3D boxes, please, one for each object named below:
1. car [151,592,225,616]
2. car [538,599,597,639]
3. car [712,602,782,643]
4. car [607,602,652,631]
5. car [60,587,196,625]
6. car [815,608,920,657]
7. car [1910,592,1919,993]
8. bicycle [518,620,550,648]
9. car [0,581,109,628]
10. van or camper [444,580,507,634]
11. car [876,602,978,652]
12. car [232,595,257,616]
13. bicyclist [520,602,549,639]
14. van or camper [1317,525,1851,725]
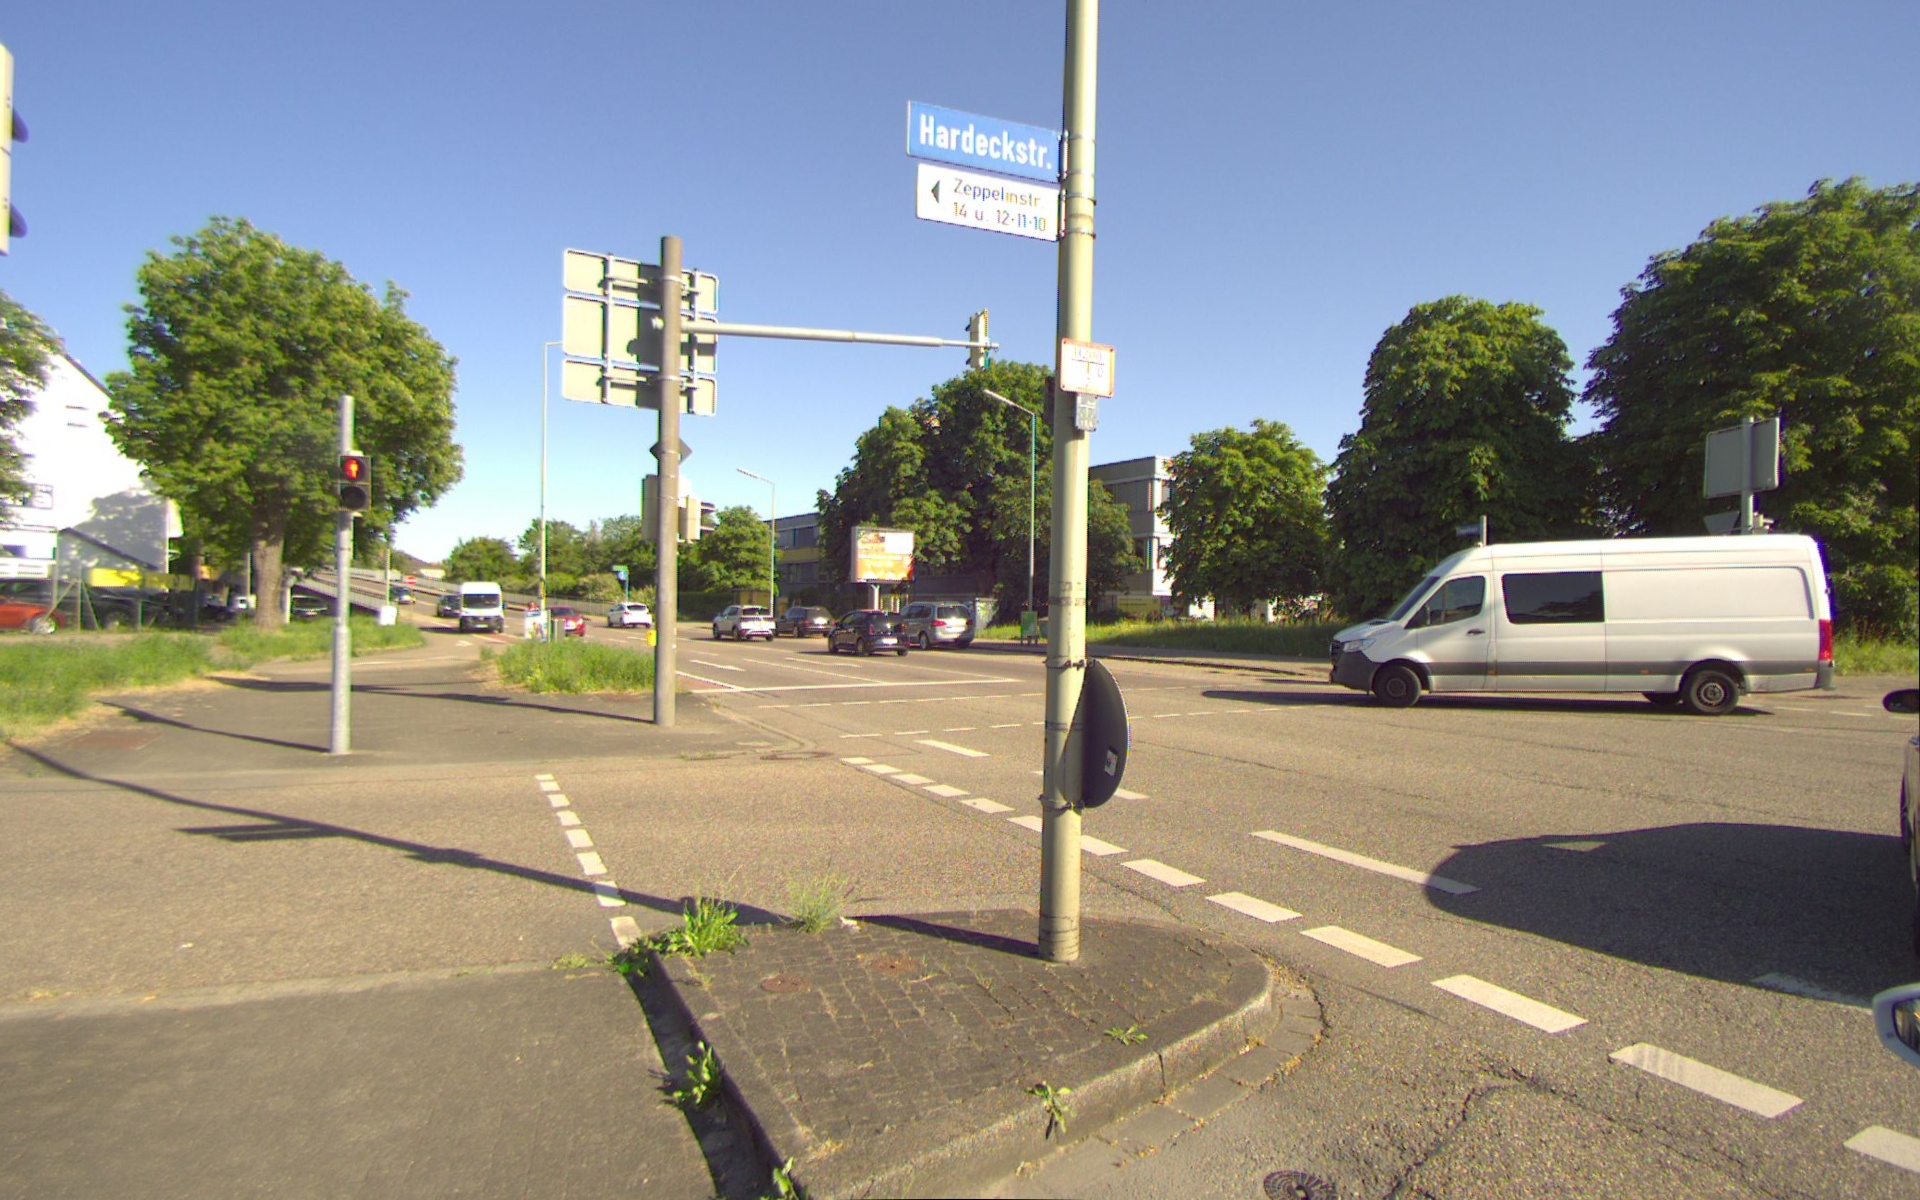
[{"bbox_3d":[-53.440,0.293,69.557,1.750,1.530,3.668,2,0,24],"label":"car"},{"bbox_3d":[-18.960,0.883,48.435,1.839,1.759,4.231,1,0,-33],"label":"car"},{"bbox_3d":[-9.475,0.965,44.425,1.975,1.702,3.970,0,0,-29],"label":"car"},{"bbox_3d":[-19.556,0.977,59.352,1.860,1.564,3.969,2,0,-29],"label":"car"},{"bbox_3d":[-37.514,0.305,45.371,1.783,1.596,4.396,2,0,34],"label":"car"},{"bbox_3d":[-3.139,1.029,33.300,1.902,1.508,4.235,0,0,-30],"label":"car"},{"bbox_3d":[5.878,0.820,4.820,3.962,1.614,1.752,2,-1,-44],"label":"car"},{"bbox_3d":[-16.970,1.335,40.011,0.929,1.030,2.179,2,0,-29],"label":"bicycle"},{"bbox_3d":[-28.211,0.099,28.983,2.315,1.327,5.058,2,0,22],"label":"car"},{"bbox_3d":[-25.456,0.371,52.626,2.575,2.617,6.559,0,0,-30],"label":"van or camper"},{"bbox_3d":[-1.302,0.958,37.842,1.857,1.745,4.574,-1,0,-31],"label":"car"},{"bbox_3d":[-70.736,0.548,99.298,1.912,2.017,4.213,2,0,-36],"label":"car"},{"bbox_3d":[-16.927,0.819,39.955,0.925,1.420,0.816,2,0,-30],"label":"bicyclist"},{"bbox_3d":[9.537,0.284,16.281,6.939,2.775,2.234,2,0,19],"label":"van or camper"}]
